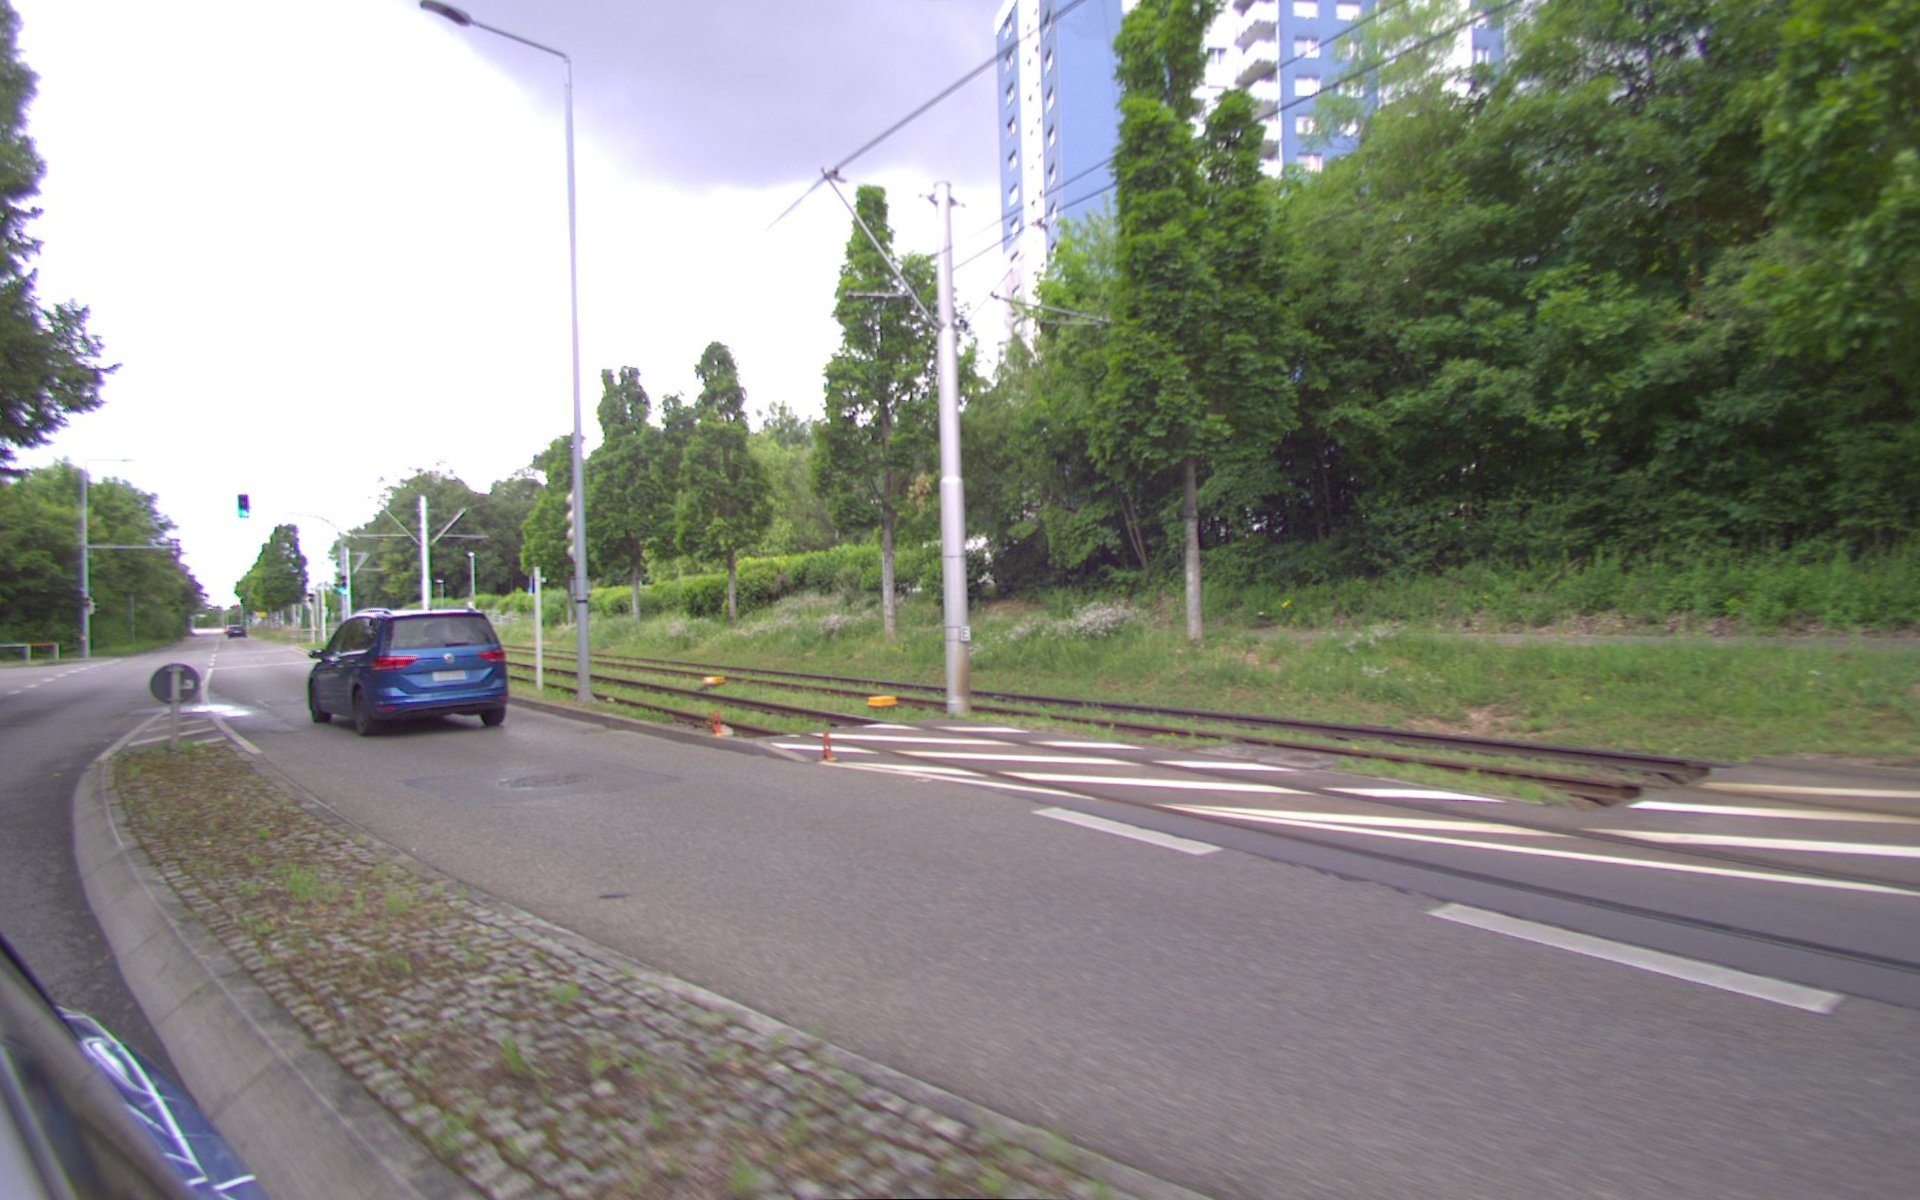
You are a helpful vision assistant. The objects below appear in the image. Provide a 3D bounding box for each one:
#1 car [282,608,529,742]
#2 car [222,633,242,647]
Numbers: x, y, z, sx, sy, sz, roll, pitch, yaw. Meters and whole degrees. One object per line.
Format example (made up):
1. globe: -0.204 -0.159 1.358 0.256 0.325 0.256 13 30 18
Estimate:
1. car: -7.877 0.981 14.198 4.240 1.532 1.846 -3 0 44
2. car: -83.257 4.611 115.740 1.826 1.481 4.265 -3 0 -36
